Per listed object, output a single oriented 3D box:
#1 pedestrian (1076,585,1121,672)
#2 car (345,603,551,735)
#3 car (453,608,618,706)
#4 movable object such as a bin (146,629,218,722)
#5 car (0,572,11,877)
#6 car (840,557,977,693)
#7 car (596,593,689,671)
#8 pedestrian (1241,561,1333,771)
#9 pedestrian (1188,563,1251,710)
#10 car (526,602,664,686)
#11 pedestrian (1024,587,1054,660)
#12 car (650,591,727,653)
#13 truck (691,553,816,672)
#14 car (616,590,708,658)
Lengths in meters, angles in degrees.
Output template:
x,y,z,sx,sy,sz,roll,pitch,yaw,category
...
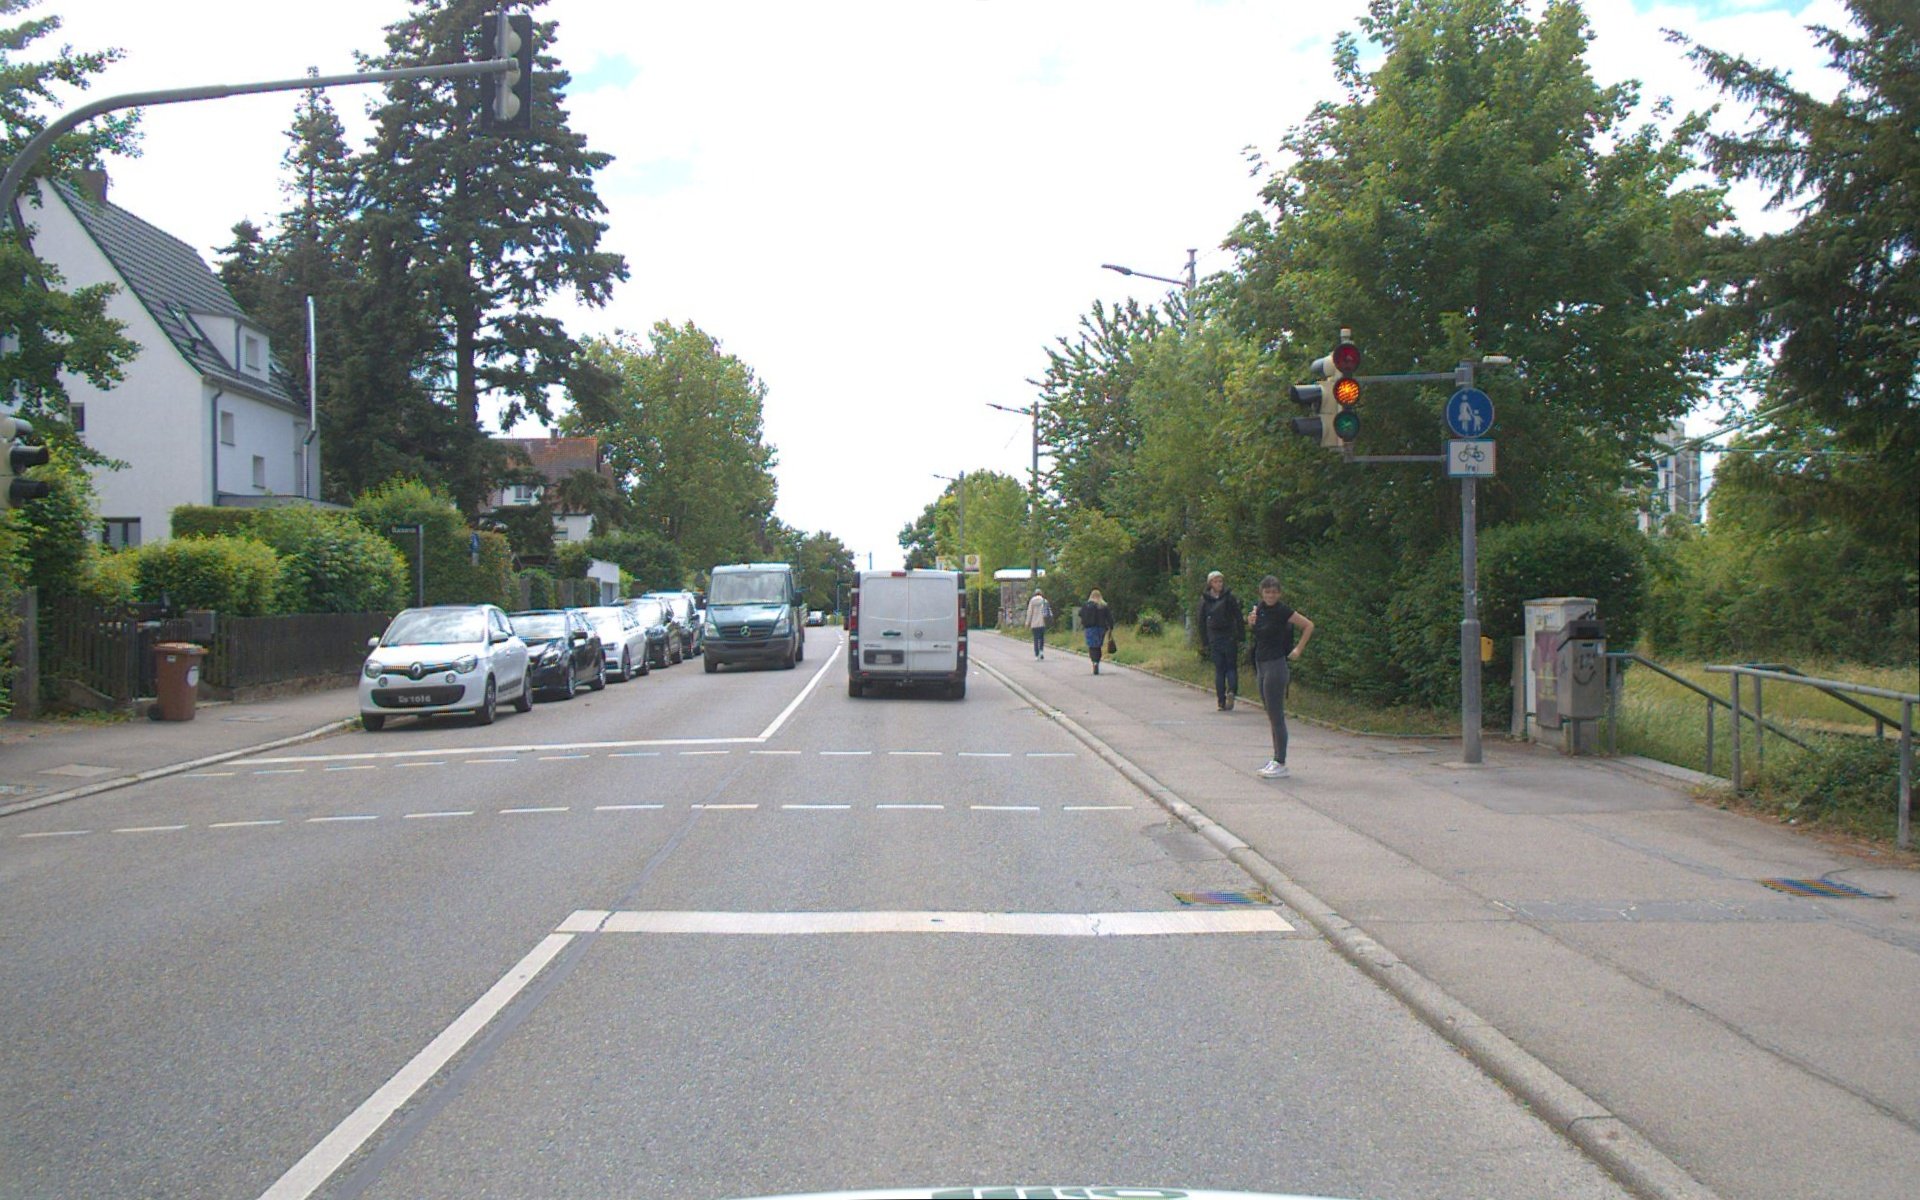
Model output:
x,y,z,sx,sy,sz,roll,pitch,yaw,category
2.718,0.553,32.585,0.822,1.688,0.766,1,-1,1,pedestrian
-6.903,0.866,22.664,1.668,1.570,3.742,-2,0,-1,car
-7.101,0.900,28.091,1.707,1.435,4.322,-2,0,-1,car
-9.678,0.931,20.595,0.505,1.099,0.748,3,0,-2,movable object such as a bin
-6.351,0.770,7.440,1.643,1.789,4.605,-2,0,-3,car
-0.897,0.381,27.034,1.994,1.979,4.990,1,0,-3,car
-7.724,0.732,40.588,1.594,1.707,4.580,-3,0,-3,car
2.717,0.538,13.807,0.634,1.693,0.708,1,-1,2,pedestrian
3.446,0.481,22.031,0.729,1.916,0.801,1,-1,3,pedestrian
-7.395,0.835,33.959,1.769,1.484,5.067,-2,0,-1,car
1.863,0.552,39.225,0.672,1.688,0.690,1,-1,1,pedestrian
-8.549,0.646,52.469,1.945,1.851,4.704,-1,0,-4,car
-4.624,0.234,38.032,2.145,2.413,6.902,-2,0,-2,truck
-8.292,0.639,46.447,2.026,1.785,4.879,1,0,-4,car
